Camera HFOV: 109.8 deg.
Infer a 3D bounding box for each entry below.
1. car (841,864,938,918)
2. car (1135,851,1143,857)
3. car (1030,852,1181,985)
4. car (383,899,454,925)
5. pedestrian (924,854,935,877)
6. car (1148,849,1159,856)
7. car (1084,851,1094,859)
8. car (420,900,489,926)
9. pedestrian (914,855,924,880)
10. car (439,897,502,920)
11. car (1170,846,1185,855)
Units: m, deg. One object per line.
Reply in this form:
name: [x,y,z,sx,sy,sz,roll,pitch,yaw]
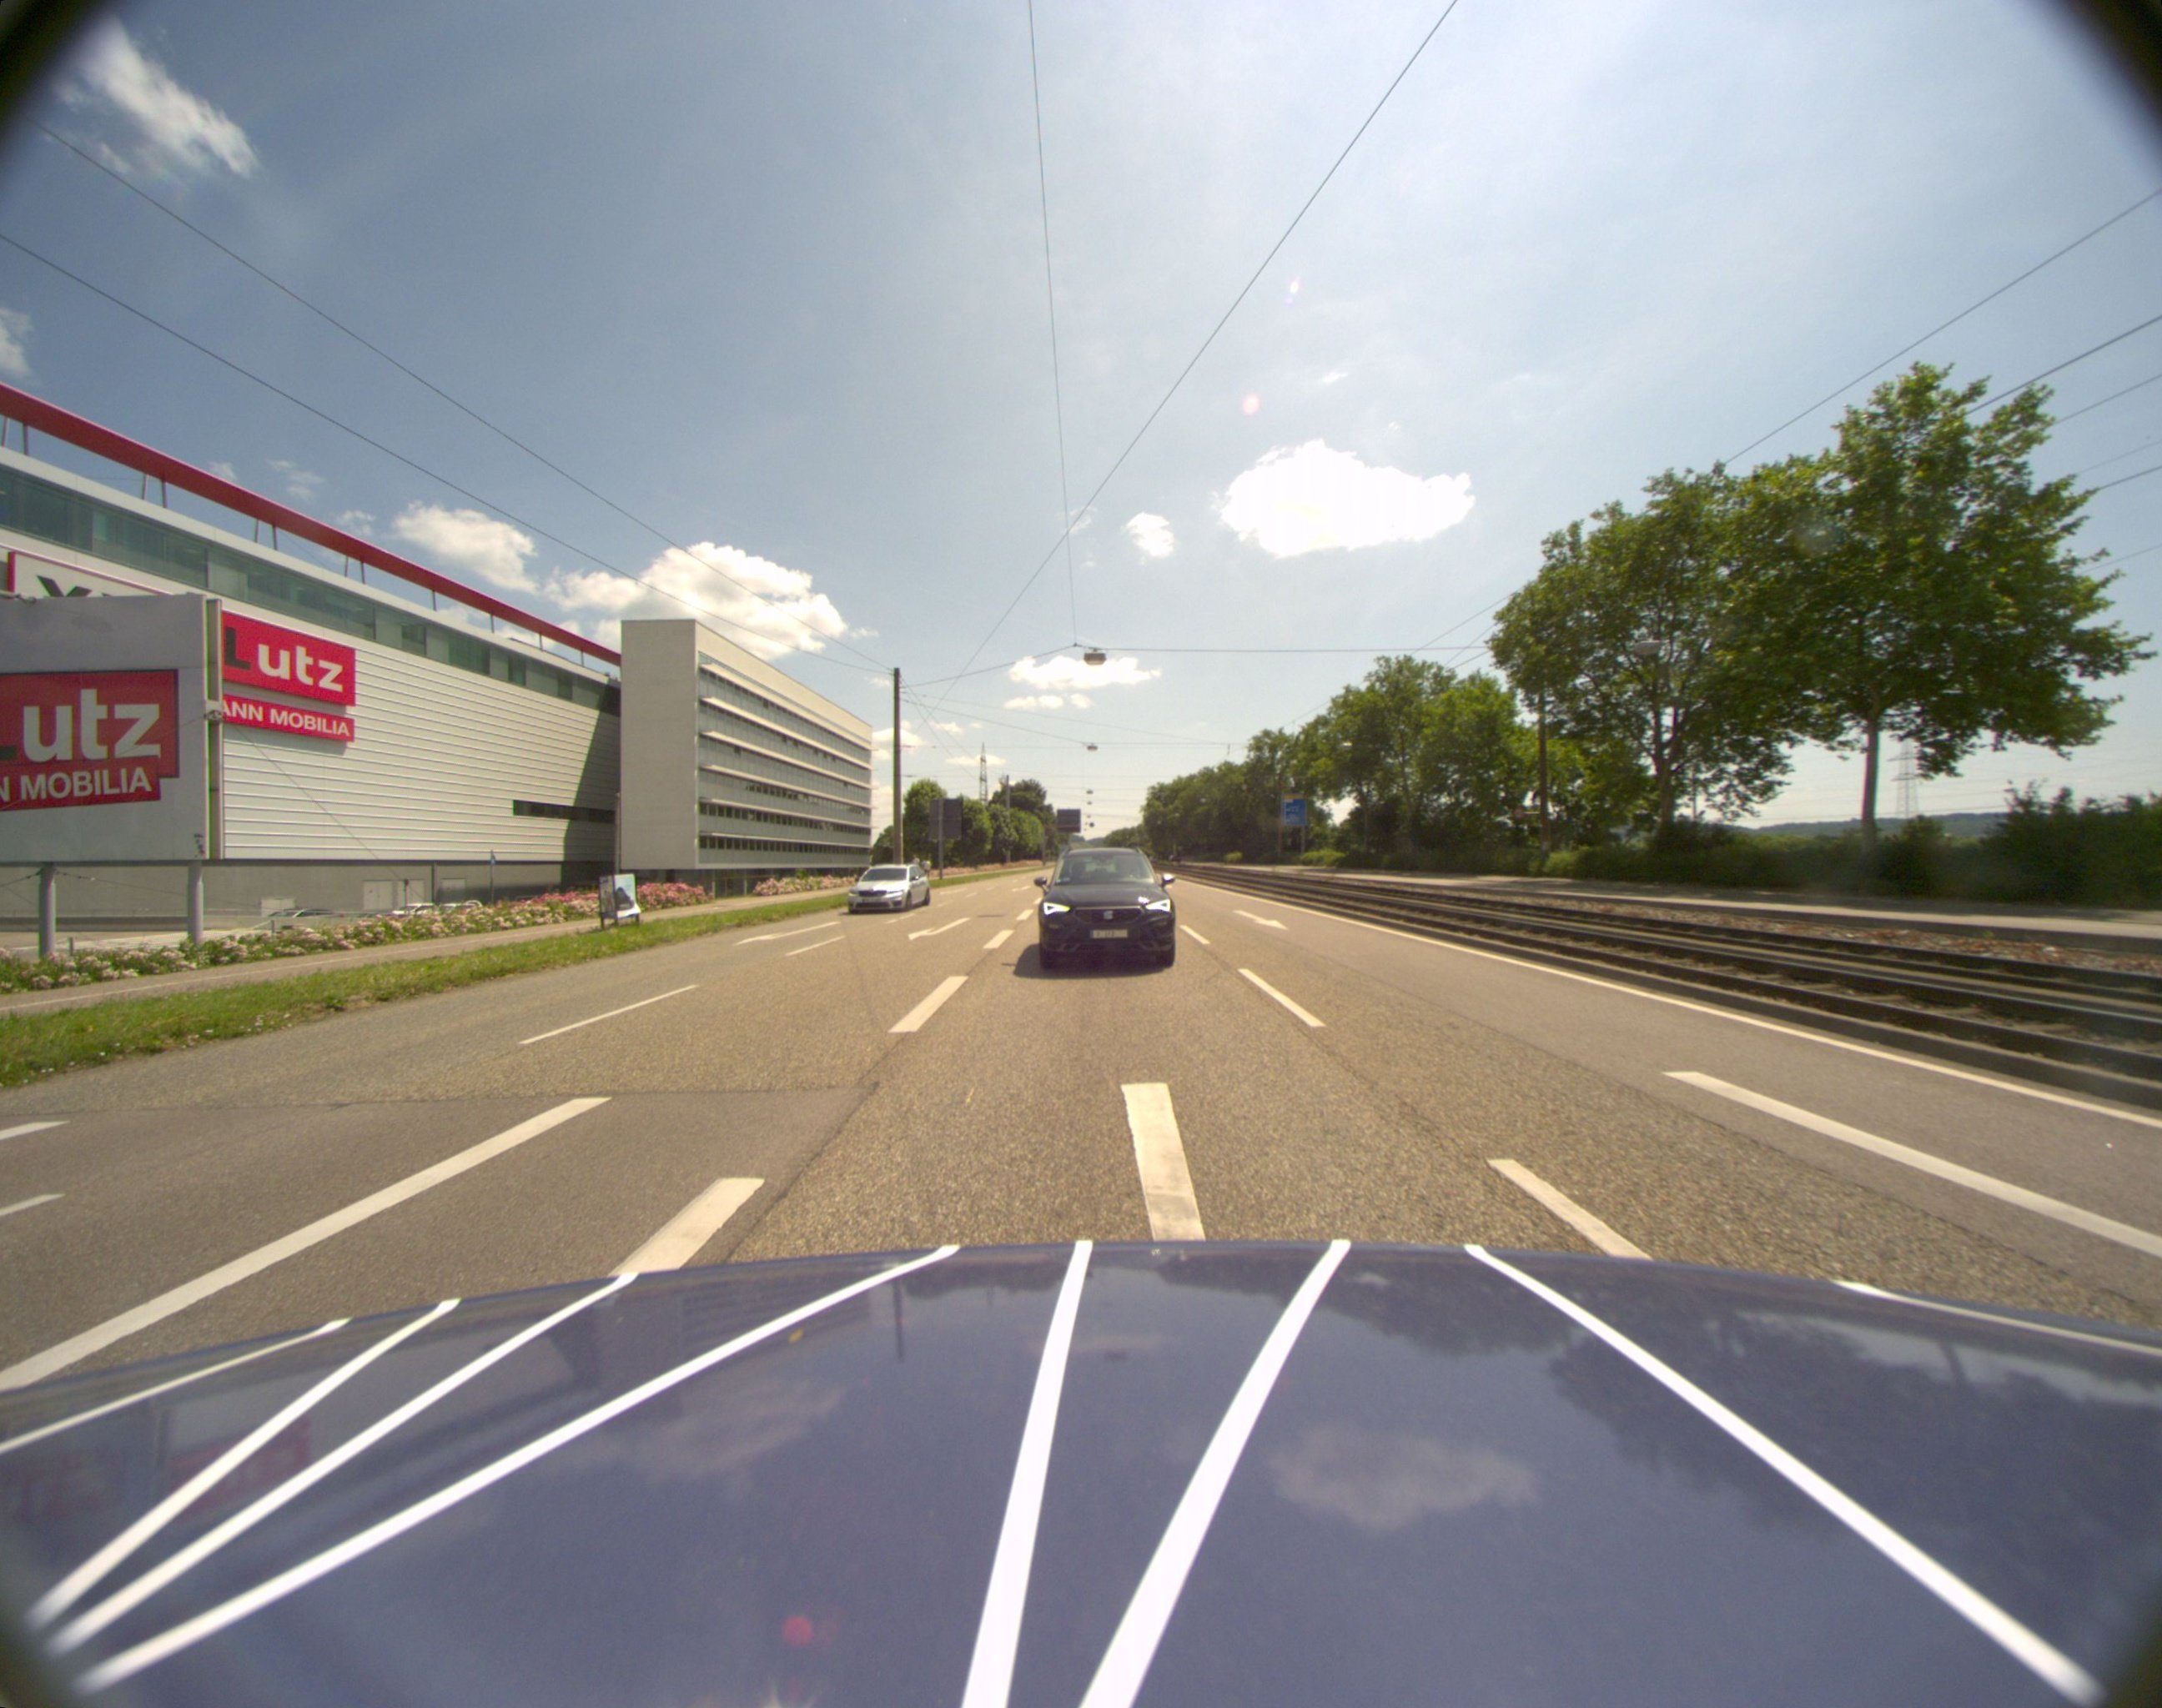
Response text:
car: [-5.879,1.091,23.900,1.802,1.390,4.460,-2,0,1]
car: [16.868,0.060,220.308,1.998,1.626,4.266,-1,-1,0]
car: [0.348,0.795,11.405,1.819,1.583,4.000,-2,0,1]
car: [-51.548,4.517,59.224,1.998,1.638,4.000,-2,0,1]
pedestrian: [-10.998,0.850,55.200,0.599,1.645,0.634,-2,1,1]
car: [17.201,-0.425,181.047,1.999,1.627,4.263,-1,0,-4]
car: [1.856,0.249,170.931,1.819,1.829,4.001,-1,0,5]
car: [-48.977,4.573,59.498,1.998,1.638,4.000,-2,0,1]
pedestrian: [-11.844,1.007,55.412,0.518,1.783,0.634,-2,1,1]
car: [-51.407,4.568,64.091,1.998,1.638,4.000,-2,0,1]
car: [17.787,-0.721,140.465,1.999,1.627,4.263,-1,0,-4]
